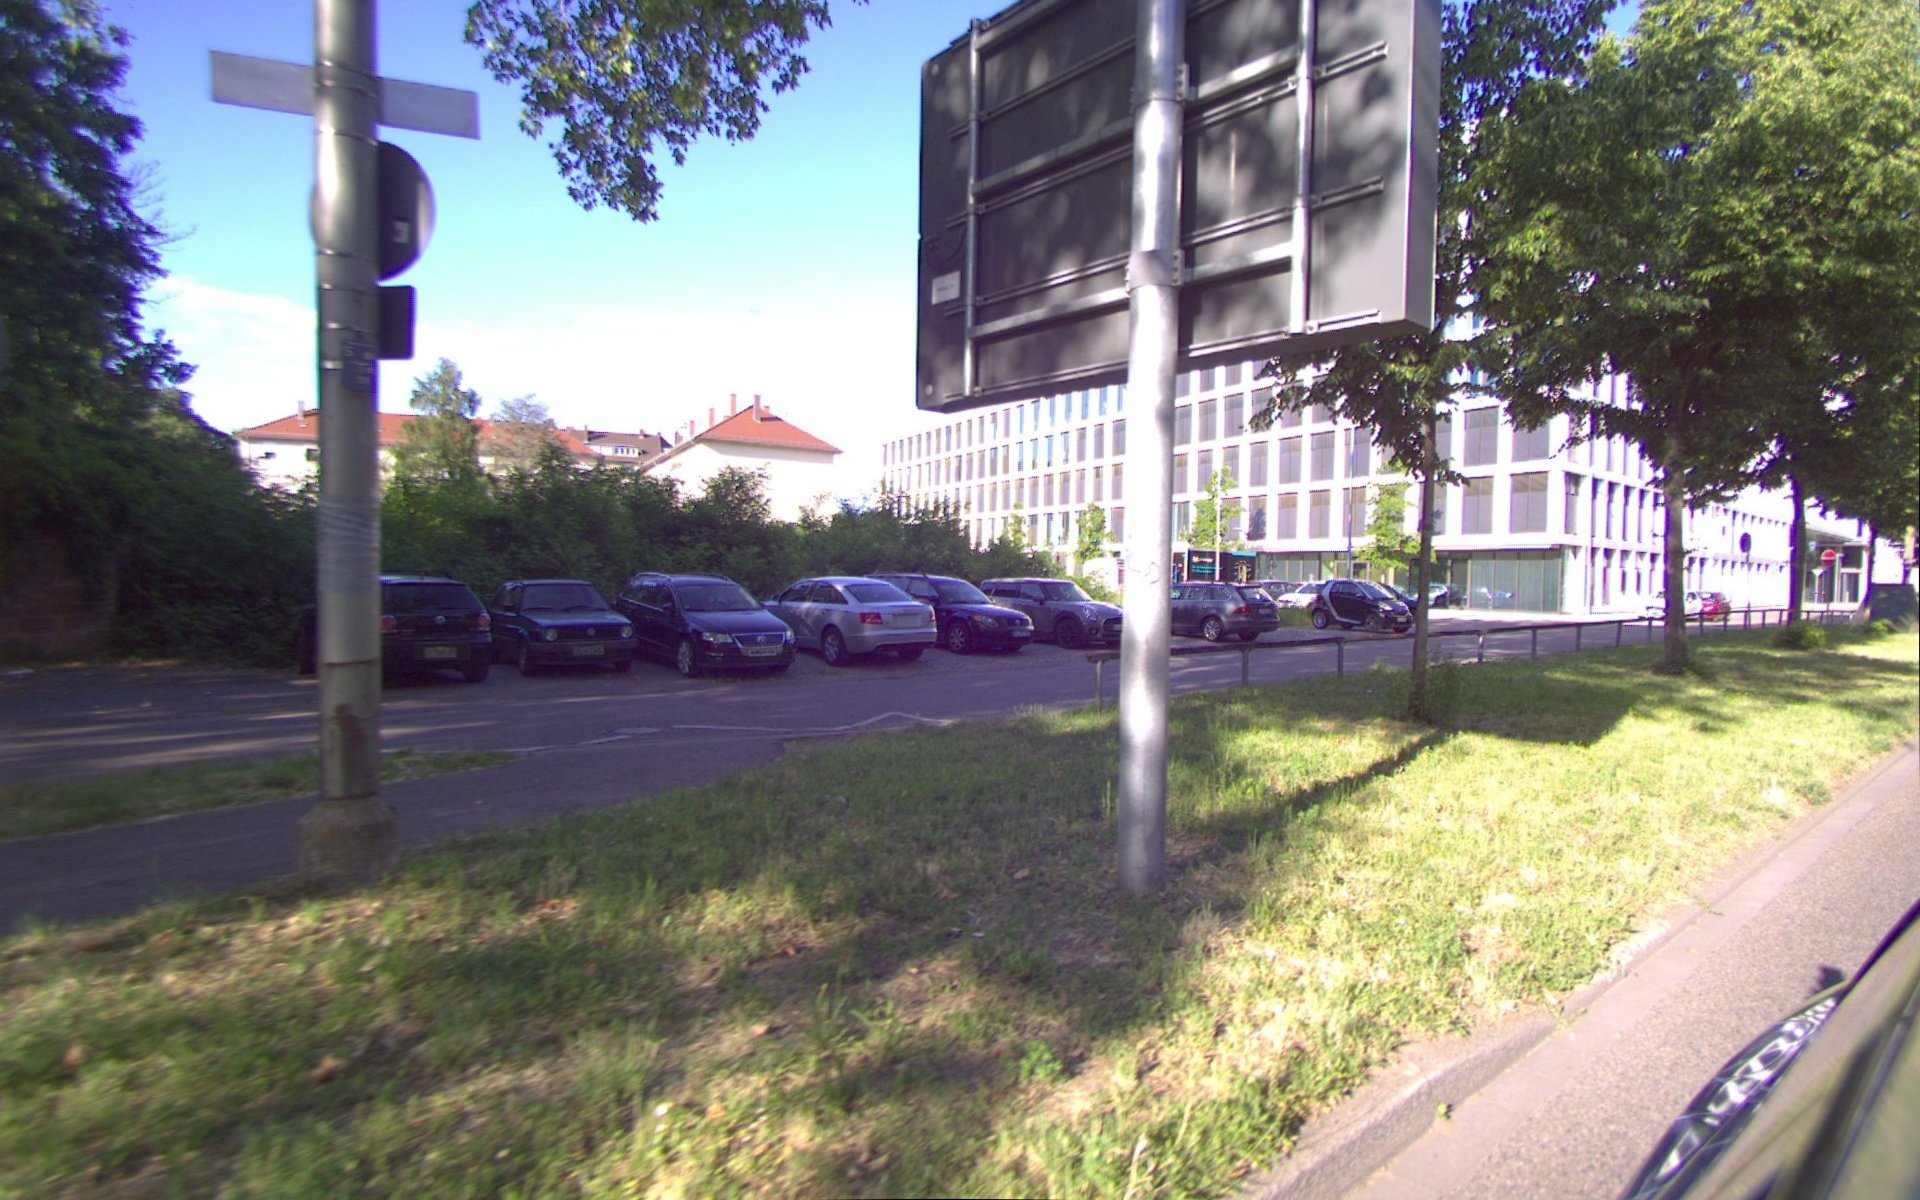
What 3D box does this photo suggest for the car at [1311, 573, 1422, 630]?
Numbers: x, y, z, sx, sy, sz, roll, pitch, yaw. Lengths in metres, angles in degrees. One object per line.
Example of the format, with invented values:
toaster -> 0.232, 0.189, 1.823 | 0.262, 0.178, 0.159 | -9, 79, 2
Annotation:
car -> 12.191, -0.007, 30.485 | 1.433, 1.568, 2.778 | -1, 3, -31

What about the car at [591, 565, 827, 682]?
car -> -4.348, 0.264, 16.951 | 1.965, 1.422, 4.733 | 0, 5, -40

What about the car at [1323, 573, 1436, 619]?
car -> 15.545, -0.148, 37.509 | 3.739, 1.565, 1.602 | 2, 1, -21

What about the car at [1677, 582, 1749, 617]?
car -> 36.761, -0.066, 49.378 | 4.198, 1.503, 1.869 | -1, 5, -41

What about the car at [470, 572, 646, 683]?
car -> -6.490, 0.328, 16.090 | 1.590, 1.409, 4.000 | -1, 4, -37

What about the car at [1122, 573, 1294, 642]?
car -> 6.257, 0.128, 25.909 | 1.685, 1.485, 4.090 | -1, 4, -39

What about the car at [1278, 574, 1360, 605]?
car -> 19.445, -0.555, 54.766 | 3.918, 1.594, 2.003 | -1, 0, -26

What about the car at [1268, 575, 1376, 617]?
car -> 14.281, -0.159, 39.916 | 3.800, 1.555, 1.755 | -1, 0, -22

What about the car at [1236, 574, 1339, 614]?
car -> 13.614, -0.254, 42.078 | 3.868, 1.559, 1.726 | -1, 0, -22

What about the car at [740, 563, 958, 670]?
car -> -2.174, 0.204, 18.650 | 1.963, 1.427, 4.396 | 0, 6, -37

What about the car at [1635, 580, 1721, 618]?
car -> 32.956, -0.088, 46.444 | 4.322, 1.503, 2.000 | -1, 5, -38

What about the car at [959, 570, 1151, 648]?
car -> 2.041, 0.121, 22.762 | 1.752, 1.517, 4.197 | -1, 3, -43

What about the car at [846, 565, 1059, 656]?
car -> -0.253, 0.146, 20.816 | 1.875, 1.496, 4.334 | 1, 3, -44

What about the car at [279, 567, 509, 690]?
car -> -8.231, 0.302, 14.568 | 3.985, 1.523, 1.739 | 2, 2, 42
